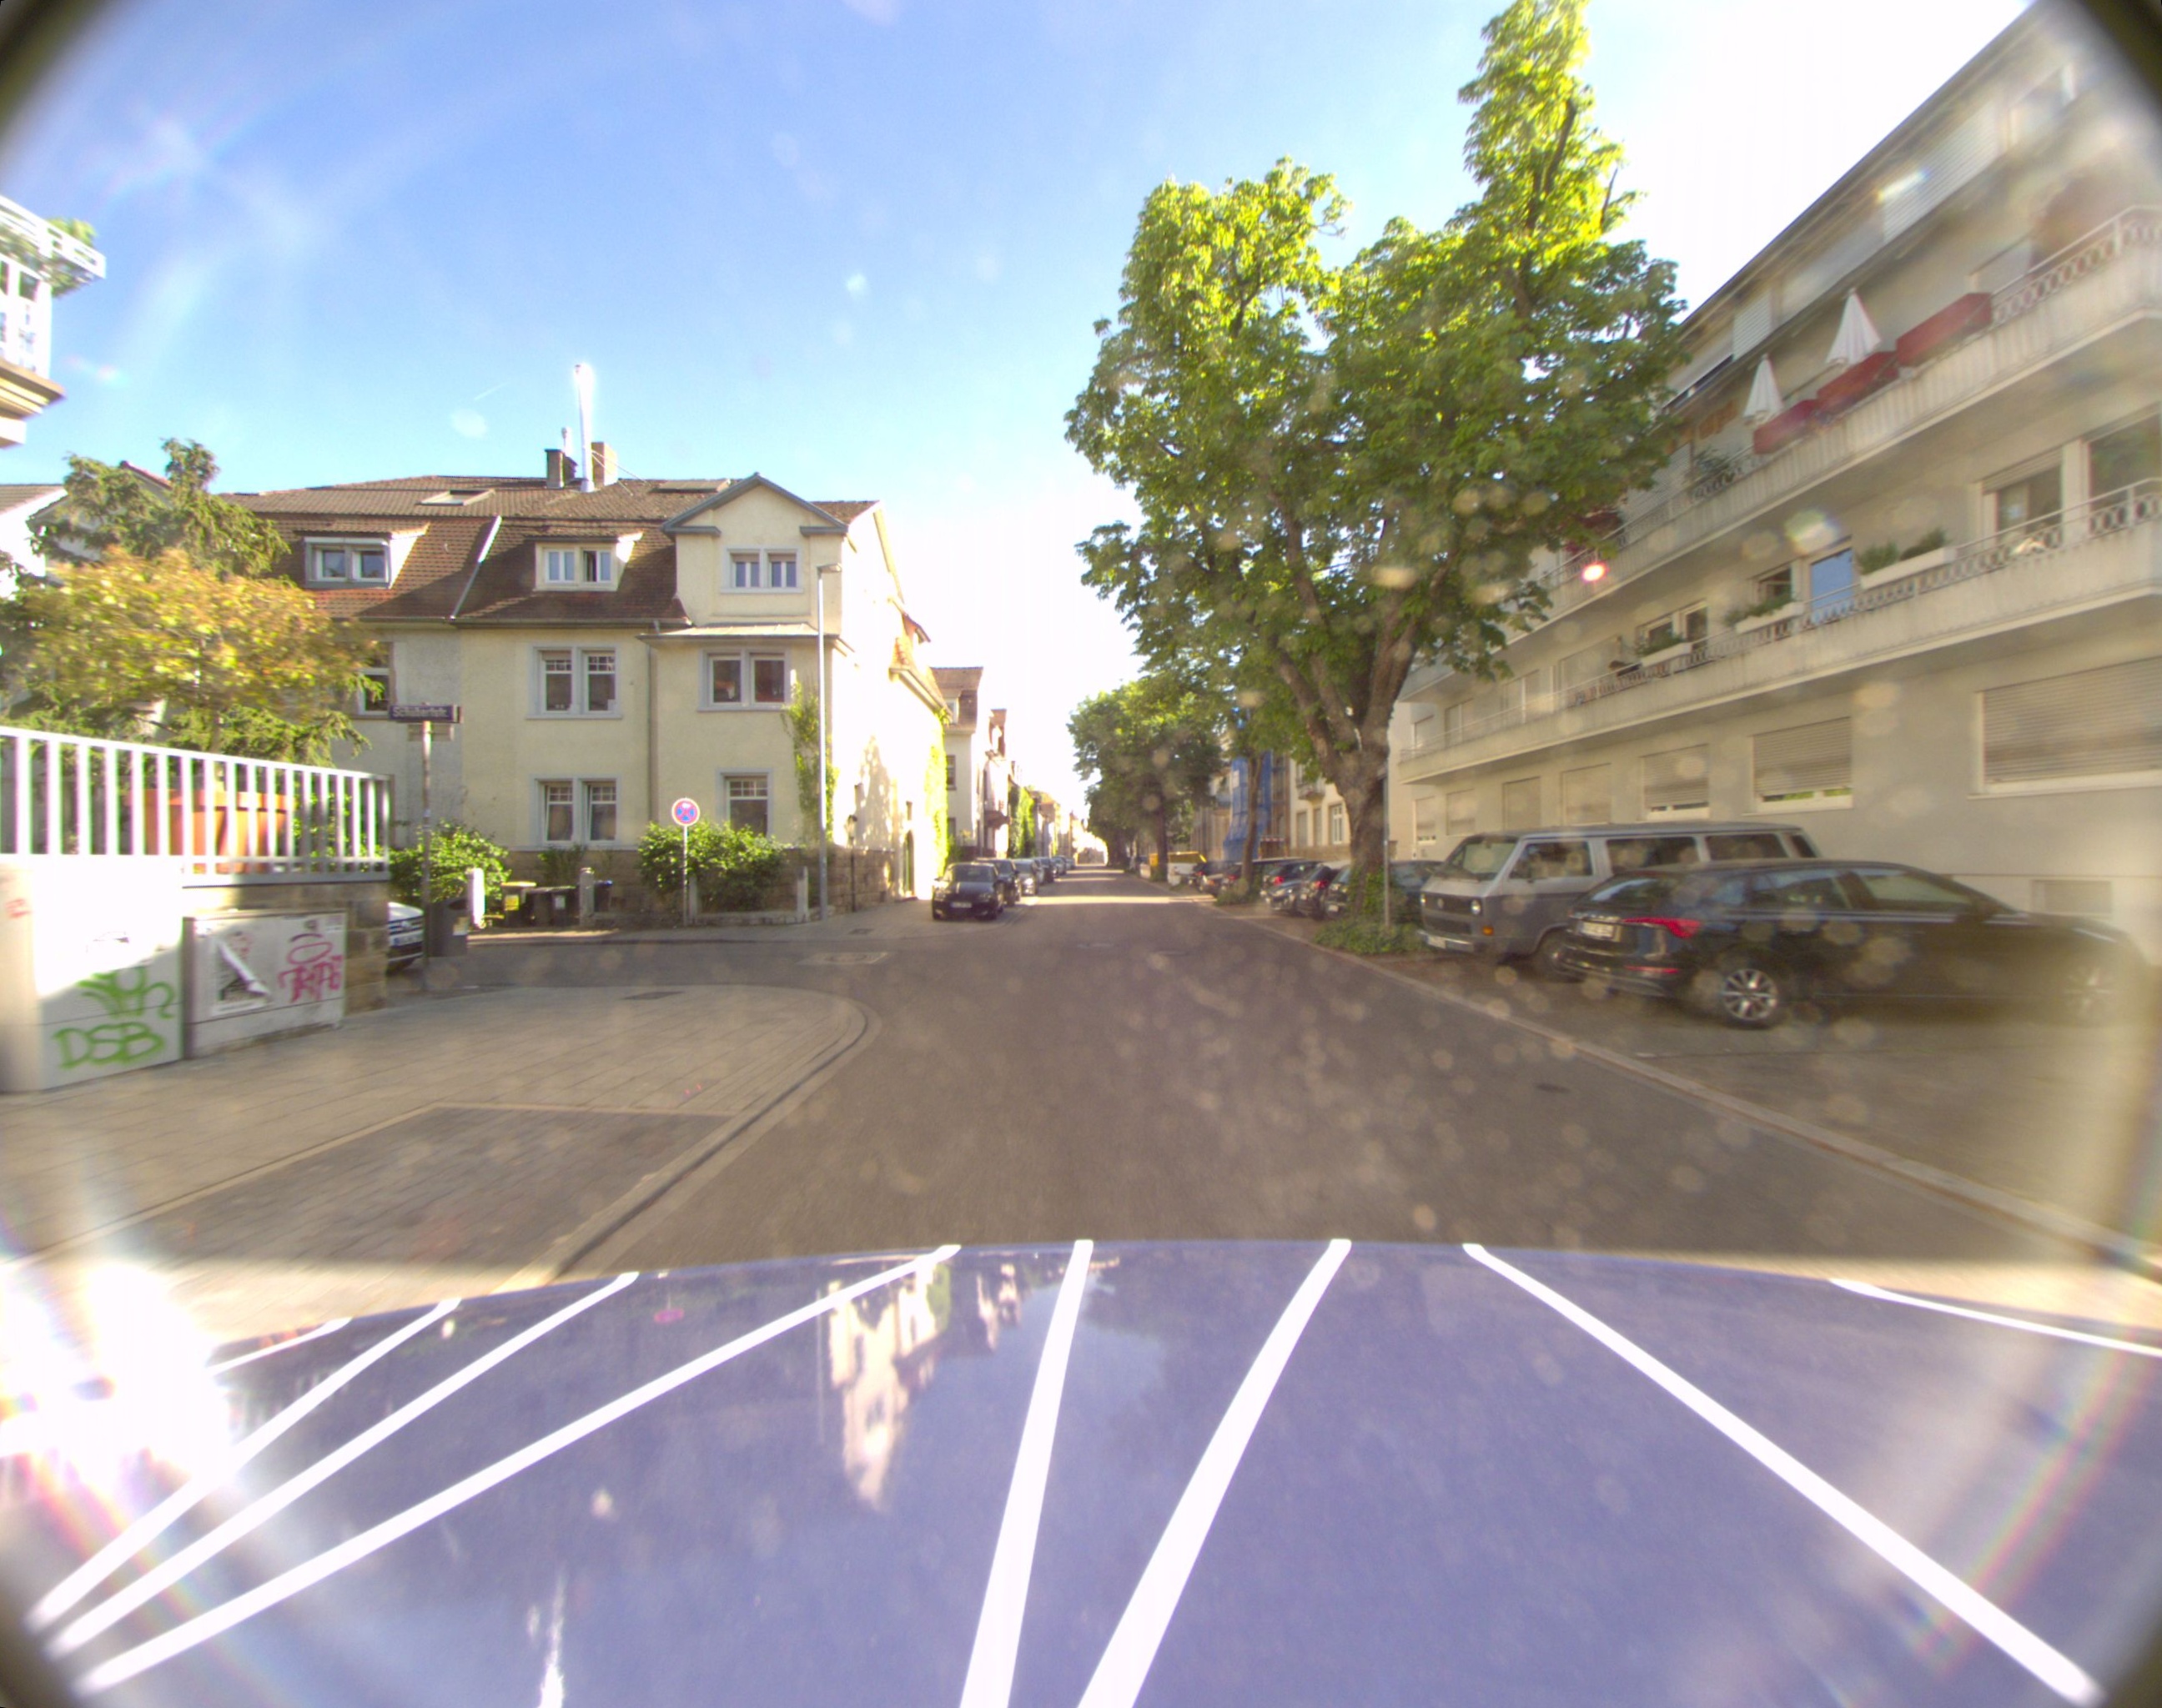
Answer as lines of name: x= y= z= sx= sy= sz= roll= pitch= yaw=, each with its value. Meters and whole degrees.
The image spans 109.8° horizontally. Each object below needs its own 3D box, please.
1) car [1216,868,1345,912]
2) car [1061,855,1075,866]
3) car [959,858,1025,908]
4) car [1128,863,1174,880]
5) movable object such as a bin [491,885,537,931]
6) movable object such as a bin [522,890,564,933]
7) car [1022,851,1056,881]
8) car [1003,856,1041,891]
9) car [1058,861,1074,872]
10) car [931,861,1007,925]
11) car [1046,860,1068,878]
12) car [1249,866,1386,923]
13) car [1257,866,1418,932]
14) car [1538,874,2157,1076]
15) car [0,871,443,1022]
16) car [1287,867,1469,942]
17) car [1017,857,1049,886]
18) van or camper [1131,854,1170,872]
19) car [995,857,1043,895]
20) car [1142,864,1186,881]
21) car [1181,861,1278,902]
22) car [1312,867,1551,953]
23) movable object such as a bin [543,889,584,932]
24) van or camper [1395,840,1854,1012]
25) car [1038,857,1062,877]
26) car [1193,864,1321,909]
car: x=7.174 y=1.275 z=27.548 sx=4.198 sy=1.433 sz=1.713 roll=-1 pitch=1 yaw=-1
car: x=-1.979 y=0.940 z=113.247 sx=1.822 sy=1.529 sz=4.161 roll=-3 pitch=0 yaw=1
car: x=-3.027 y=0.930 z=26.618 sx=1.796 sy=1.511 sz=4.366 roll=0 pitch=1 yaw=0
car: x=6.526 y=1.624 z=71.126 sx=4.150 sy=1.392 sz=1.710 roll=-2 pitch=0 yaw=0
movable object such as a bin: x=-13.499 y=1.283 z=18.101 sx=0.520 sy=1.016 sz=0.666 roll=-3 pitch=1 yaw=0
movable object such as a bin: x=-12.940 y=1.379 z=18.285 sx=0.520 sy=0.947 sz=0.576 roll=-3 pitch=1 yaw=0
car: x=-2.671 y=0.727 z=49.294 sx=1.782 sy=1.686 sz=4.319 roll=-3 pitch=1 yaw=1
car: x=-2.888 y=0.925 z=37.584 sx=1.579 sy=1.540 sz=3.468 roll=0 pitch=1 yaw=0
car: x=-2.019 y=1.693 z=103.119 sx=1.813 sy=1.546 sz=4.107 roll=0 pitch=0 yaw=2
car: x=-2.978 y=0.992 z=20.977 sx=1.667 sy=1.511 sz=4.000 roll=0 pitch=1 yaw=-3
car: x=-2.197 y=1.400 z=71.341 sx=1.872 sy=1.635 sz=4.199 roll=0 pitch=0 yaw=1
car: x=7.002 y=1.171 z=22.745 sx=3.488 sy=1.412 sz=1.709 roll=-3 pitch=1 yaw=-4
car: x=6.653 y=1.148 z=20.016 sx=3.652 sy=1.454 sz=1.710 roll=-3 pitch=1 yaw=3
car: x=6.768 y=1.027 z=7.073 sx=3.954 sy=1.489 sz=1.662 roll=-2 pitch=0 yaw=3
car: x=-11.109 y=1.111 z=9.851 sx=3.998 sy=1.582 sz=1.790 roll=-1 pitch=2 yaw=-2
car: x=6.753 y=1.121 z=17.565 sx=3.487 sy=1.449 sz=1.797 roll=-3 pitch=1 yaw=2
car: x=-2.760 y=0.996 z=44.136 sx=1.629 sy=1.540 sz=2.869 roll=-2 pitch=1 yaw=0
van or camper: x=7.384 y=0.998 z=80.720 sx=3.954 sy=1.762 sz=1.809 roll=-2 pitch=-1 yaw=0
car: x=-2.610 y=0.880 z=32.811 sx=1.713 sy=1.428 sz=4.192 roll=1 pitch=1 yaw=0
car: x=7.308 y=1.649 z=66.875 sx=3.735 sy=1.456 sz=1.715 roll=0 pitch=-1 yaw=1
car: x=6.710 y=1.227 z=34.553 sx=3.883 sy=1.505 sz=1.831 roll=-4 pitch=1 yaw=-8
car: x=6.861 y=1.068 z=15.140 sx=3.932 sy=1.406 sz=1.715 roll=-3 pitch=0 yaw=-2
movable object such as a bin: x=-12.391 y=1.351 z=18.206 sx=0.520 sy=0.947 sz=0.576 roll=-3 pitch=1 yaw=0
van or camper: x=6.725 y=0.834 z=9.815 sx=4.508 sy=1.903 sz=1.964 roll=-1 pitch=1 yaw=0
car: x=-2.389 y=1.034 z=60.133 sx=1.648 sy=1.445 sz=4.502 roll=-2 pitch=0 yaw=0
car: x=6.901 y=1.273 z=30.085 sx=4.601 sy=1.598 sz=1.832 roll=-1 pitch=0 yaw=-2
